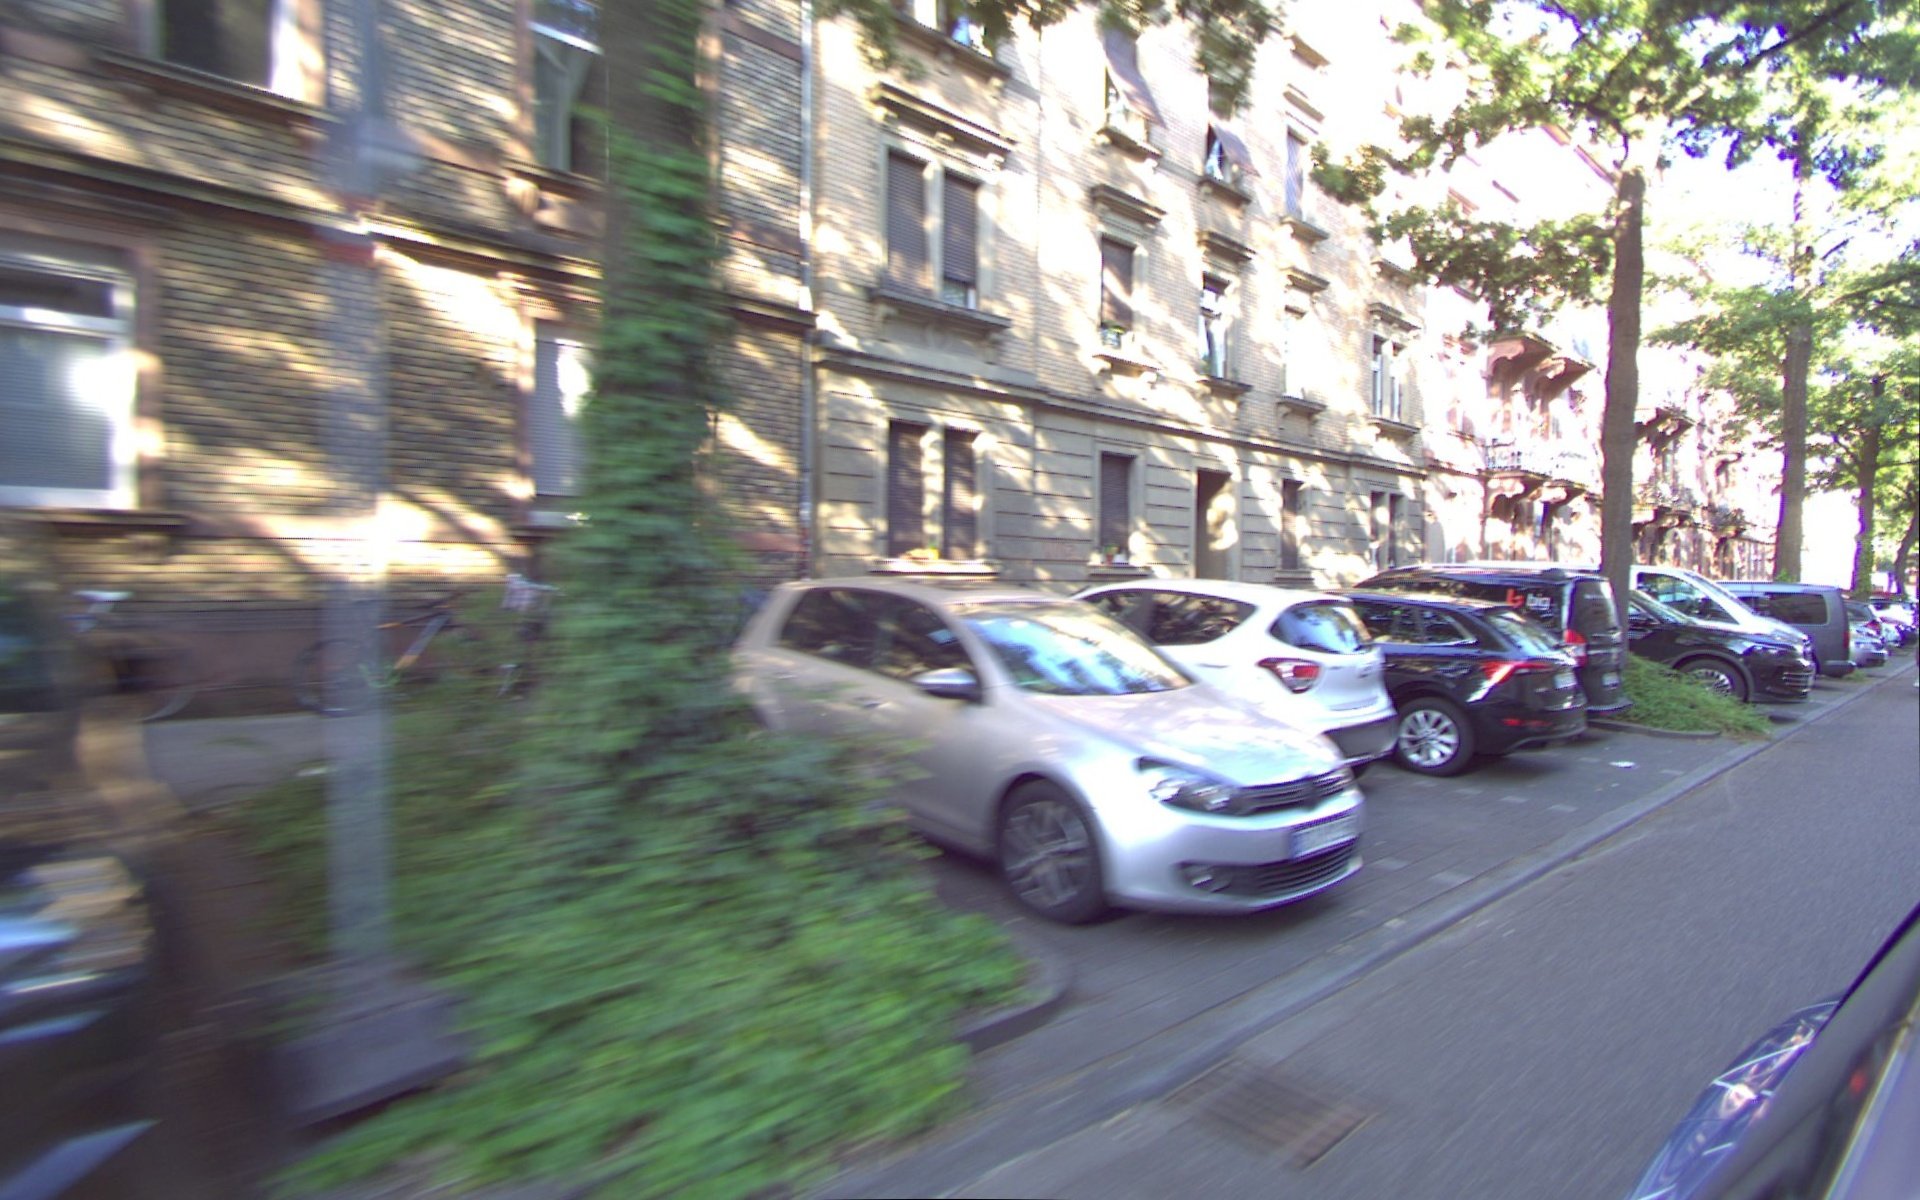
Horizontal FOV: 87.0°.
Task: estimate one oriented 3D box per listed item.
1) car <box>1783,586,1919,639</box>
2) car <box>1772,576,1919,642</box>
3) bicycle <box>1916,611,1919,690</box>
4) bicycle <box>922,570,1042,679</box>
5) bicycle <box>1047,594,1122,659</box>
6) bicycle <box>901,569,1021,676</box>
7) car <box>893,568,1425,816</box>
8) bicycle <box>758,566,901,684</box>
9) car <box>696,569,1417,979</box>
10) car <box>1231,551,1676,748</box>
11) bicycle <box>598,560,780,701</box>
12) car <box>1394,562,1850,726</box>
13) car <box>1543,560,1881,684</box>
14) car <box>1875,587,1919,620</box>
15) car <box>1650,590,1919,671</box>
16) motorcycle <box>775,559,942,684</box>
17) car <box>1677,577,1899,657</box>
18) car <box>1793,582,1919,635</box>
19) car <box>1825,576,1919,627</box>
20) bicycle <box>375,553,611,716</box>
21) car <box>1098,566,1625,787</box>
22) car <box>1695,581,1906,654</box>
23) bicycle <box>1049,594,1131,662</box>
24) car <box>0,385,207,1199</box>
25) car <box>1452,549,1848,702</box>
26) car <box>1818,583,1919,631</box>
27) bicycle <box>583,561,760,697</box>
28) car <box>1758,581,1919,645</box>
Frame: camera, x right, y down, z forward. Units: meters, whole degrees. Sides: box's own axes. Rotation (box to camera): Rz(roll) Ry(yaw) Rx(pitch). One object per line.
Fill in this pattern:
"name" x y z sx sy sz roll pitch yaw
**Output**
"car" 32.337 0.423 36.282 1.749 1.599 4.057 0 4 -40
"car" 30.601 0.272 34.642 1.749 1.909 4.057 1 4 -40
"bicycle" 16.552 0.837 16.898 1.856 1.275 0.711 0 2 -43
"bicycle" 0.319 0.289 13.175 1.852 1.335 0.368 0 1 -44
"bicycle" 1.963 0.401 15.806 1.430 0.979 0.283 0 1 -42
"bicycle" 0.043 0.276 13.495 1.852 1.335 0.368 0 1 -44
"car" 1.393 0.518 8.184 1.660 1.513 3.989 0 1 -45
"bicycle" -1.532 0.276 12.182 1.852 1.335 0.368 0 1 -44
"car" 0.207 0.581 5.696 1.658 1.474 3.993 0 1 -42
"car" 5.396 0.404 11.496 1.911 1.811 4.133 0 1 -40
"bicycle" -2.725 0.285 10.345 1.852 1.335 0.375 0 1 -44
"car" 8.930 0.433 14.004 4.923 1.652 2.045 6 4 44
"car" 13.545 0.315 18.660 4.632 1.913 1.891 3 2 26
"car" 52.065 0.295 54.359 1.750 1.548 4.057 0 6 -42
"car" 18.157 0.584 22.360 1.869 1.384 4.468 0 3 -41
"motorcycle" -1.148 0.217 11.729 1.852 1.335 0.763 0 1 -44
"car" 21.307 0.389 26.181 1.751 1.910 4.238 0 0 -41
"car" 35.609 0.317 39.801 1.750 1.640 4.057 0 6 -41
"car" 42.853 0.116 46.281 1.892 2.000 4.699 0 6 -42
"bicycle" -4.151 0.274 9.115 1.852 1.335 0.534 0 1 -44
"car" 3.530 0.501 9.479 1.904 1.473 4.150 0 3 -43
"car" 23.048 0.420 27.879 1.710 1.607 4.238 0 4 -44
"bicycle" 1.992 0.410 15.451 1.430 0.979 0.396 0 1 -42
"car" -3.384 0.497 2.739 1.859 1.676 4.484 -2 2 -40
"car" 10.950 0.262 16.342 4.923 1.924 2.141 6 4 44
"car" 39.108 0.316 42.764 1.750 1.640 4.057 0 6 -41
"bicycle" -3.017 0.281 10.736 1.852 1.335 0.368 0 1 -44
"car" 28.761 0.377 33.085 1.708 1.702 3.844 0 4 -40
